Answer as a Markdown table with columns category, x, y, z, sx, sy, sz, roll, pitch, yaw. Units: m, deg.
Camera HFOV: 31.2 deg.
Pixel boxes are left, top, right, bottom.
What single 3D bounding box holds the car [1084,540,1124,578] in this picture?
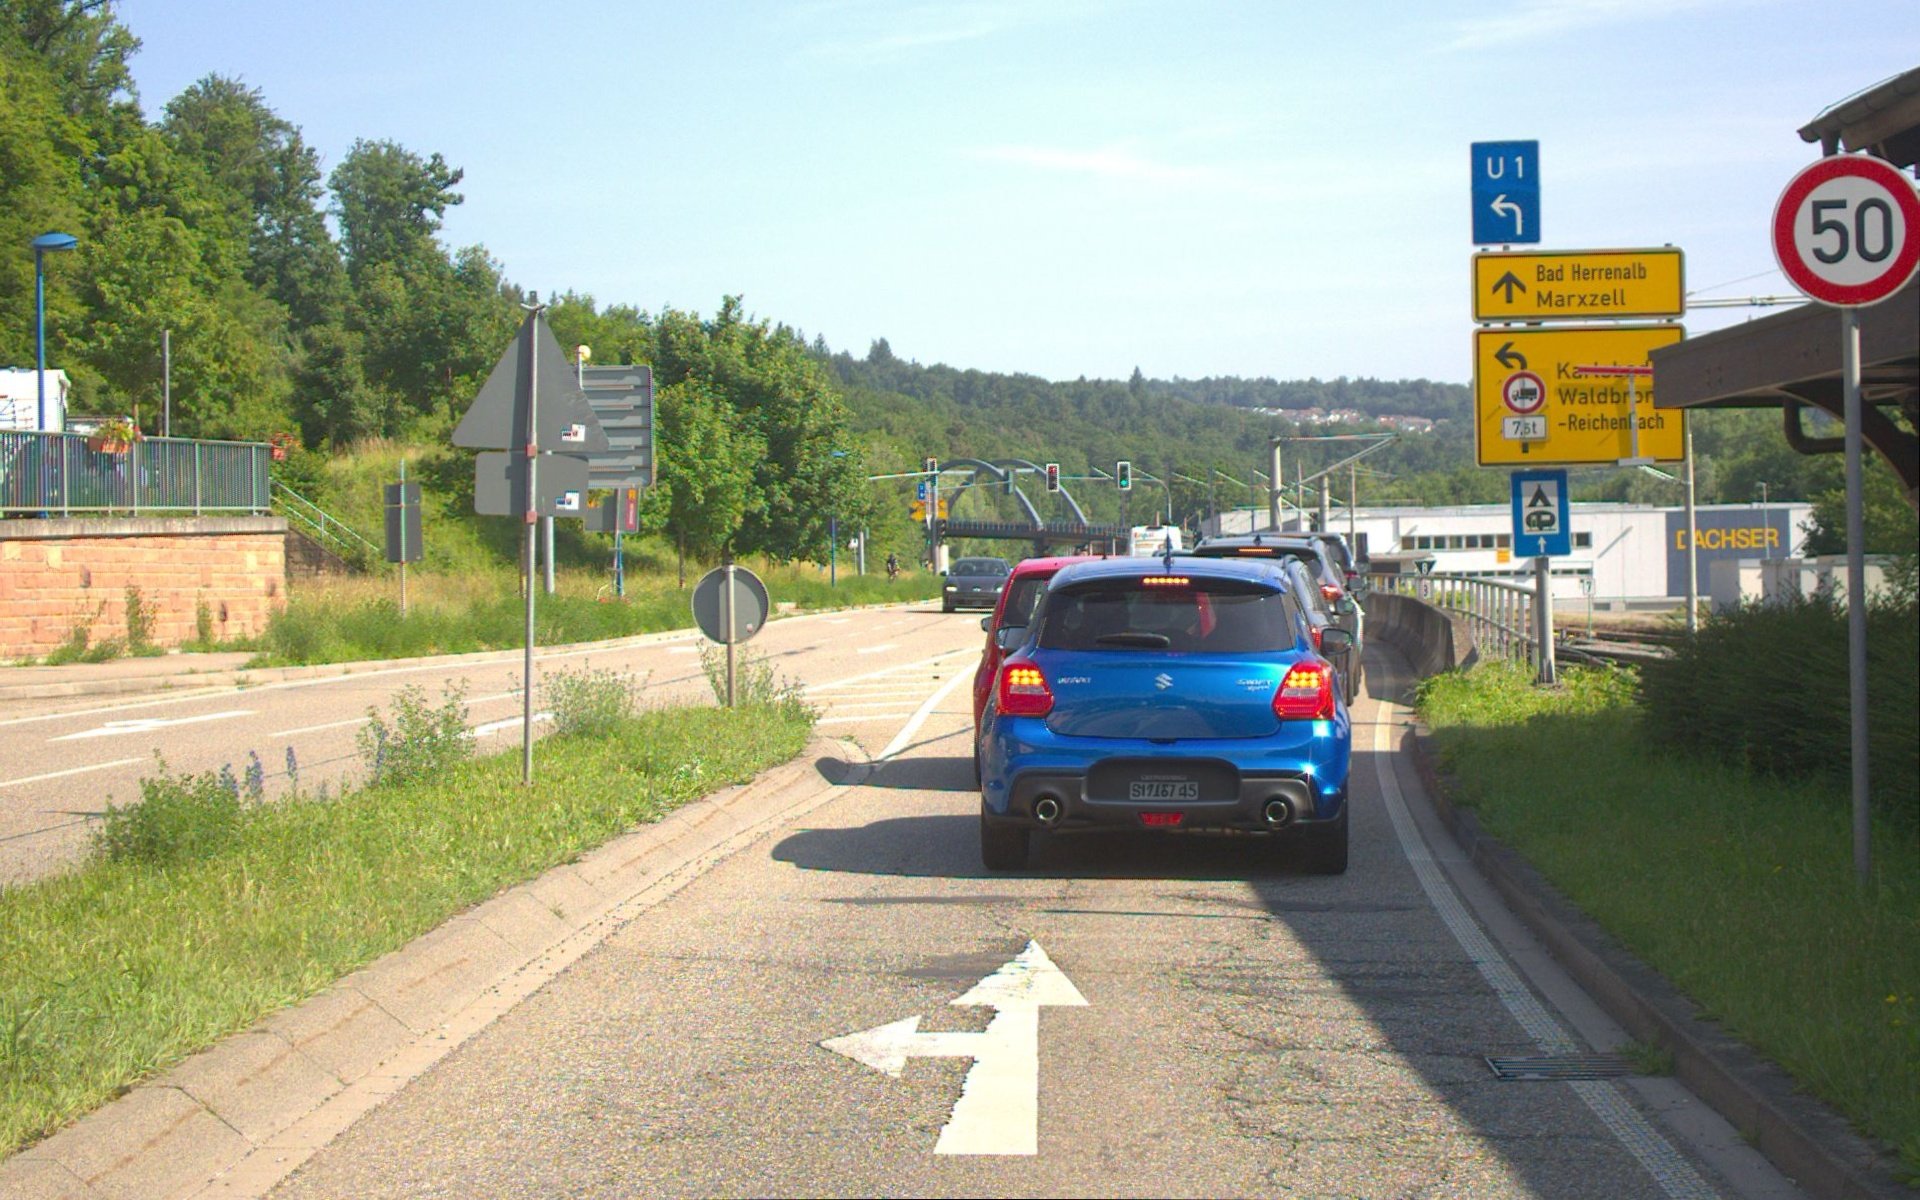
| category | x | y | z | sx | sy | sz | roll | pitch | yaw |
| --- | --- | --- | --- | --- | --- | --- | --- | --- | --- |
| car | 7.863 | -2.262 | 188.164 | 1.993 | 2.007 | 4.000 | 1 | 1 | 0 |

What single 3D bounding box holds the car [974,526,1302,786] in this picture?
| category | x | y | z | sx | sy | sz | roll | pitch | yaw |
| --- | --- | --- | --- | --- | --- | --- | --- | --- | --- |
| car | 1.261 | 0.311 | 23.103 | 1.994 | 1.566 | 3.999 | 1 | 1 | 5 |

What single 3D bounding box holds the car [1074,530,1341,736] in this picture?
| category | x | y | z | sx | sy | sz | roll | pitch | yaw |
| --- | --- | --- | --- | --- | --- | --- | --- | --- | --- |
| car | 2.071 | 0.205 | 28.326 | 1.994 | 1.526 | 4.601 | -1 | 1 | 5 |

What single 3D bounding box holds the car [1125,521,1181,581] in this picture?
| category | x | y | z | sx | sy | sz | roll | pitch | yaw |
| --- | --- | --- | --- | --- | --- | --- | --- | --- | --- |
| car | 7.105 | -1.820 | 126.516 | 1.994 | 2.137 | 4.719 | 1 | 1 | 3 |

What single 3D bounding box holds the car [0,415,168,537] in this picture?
| category | x | y | z | sx | sy | sz | roll | pitch | yaw |
| --- | --- | --- | --- | --- | --- | --- | --- | --- | --- |
| car | -14.650 | -2.073 | 57.287 | 2.020 | 1.913 | 4.732 | 1 | 2 | -3 |

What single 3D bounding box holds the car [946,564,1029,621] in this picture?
| category | x | y | z | sx | sy | sz | roll | pitch | yaw |
| --- | --- | --- | --- | --- | --- | --- | --- | --- | --- |
| car | 0.778 | -0.222 | 93.418 | 1.792 | 1.465 | 4.715 | 0 | 1 | 6 |

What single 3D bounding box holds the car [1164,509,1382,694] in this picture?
| category | x | y | z | sx | sy | sz | roll | pitch | yaw |
| --- | --- | --- | --- | --- | --- | --- | --- | --- | --- |
| car | 3.115 | -0.041 | 34.348 | 1.994 | 1.681 | 4.496 | 1 | 1 | 5 |

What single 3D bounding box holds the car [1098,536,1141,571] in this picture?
| category | x | y | z | sx | sy | sz | roll | pitch | yaw |
| --- | --- | --- | --- | --- | --- | --- | --- | --- | --- |
| car | 7.550 | -2.220 | 162.475 | 1.994 | 1.585 | 4.000 | 1 | 1 | 3 |

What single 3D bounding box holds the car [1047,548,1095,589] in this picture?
| category | x | y | z | sx | sy | sz | roll | pitch | yaw |
| --- | --- | --- | --- | --- | --- | --- | --- | --- | --- |
| car | 4.888 | -1.391 | 150.666 | 1.994 | 1.777 | 4.000 | 1 | 1 | 3 |

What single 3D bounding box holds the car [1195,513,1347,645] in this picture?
| category | x | y | z | sx | sy | sz | roll | pitch | yaw |
| --- | --- | --- | --- | --- | --- | --- | --- | --- | --- |
| car | 4.363 | -0.331 | 48.259 | 1.994 | 1.730 | 3.999 | 1 | 1 | 5 |

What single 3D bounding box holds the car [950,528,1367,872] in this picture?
| category | x | y | z | sx | sy | sz | roll | pitch | yaw |
| --- | --- | --- | --- | --- | --- | --- | --- | --- | --- |
| car | 0.983 | 0.409 | 17.440 | 1.868 | 1.543 | 4.000 | 0 | 1 | 3 |

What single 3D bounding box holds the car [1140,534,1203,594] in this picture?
| category | x | y | z | sx | sy | sz | roll | pitch | yaw |
| --- | --- | --- | --- | --- | --- | --- | --- | --- | --- |
| car | 6.918 | -1.201 | 112.526 | 1.994 | 1.810 | 4.000 | 1 | 2 | 3 |
